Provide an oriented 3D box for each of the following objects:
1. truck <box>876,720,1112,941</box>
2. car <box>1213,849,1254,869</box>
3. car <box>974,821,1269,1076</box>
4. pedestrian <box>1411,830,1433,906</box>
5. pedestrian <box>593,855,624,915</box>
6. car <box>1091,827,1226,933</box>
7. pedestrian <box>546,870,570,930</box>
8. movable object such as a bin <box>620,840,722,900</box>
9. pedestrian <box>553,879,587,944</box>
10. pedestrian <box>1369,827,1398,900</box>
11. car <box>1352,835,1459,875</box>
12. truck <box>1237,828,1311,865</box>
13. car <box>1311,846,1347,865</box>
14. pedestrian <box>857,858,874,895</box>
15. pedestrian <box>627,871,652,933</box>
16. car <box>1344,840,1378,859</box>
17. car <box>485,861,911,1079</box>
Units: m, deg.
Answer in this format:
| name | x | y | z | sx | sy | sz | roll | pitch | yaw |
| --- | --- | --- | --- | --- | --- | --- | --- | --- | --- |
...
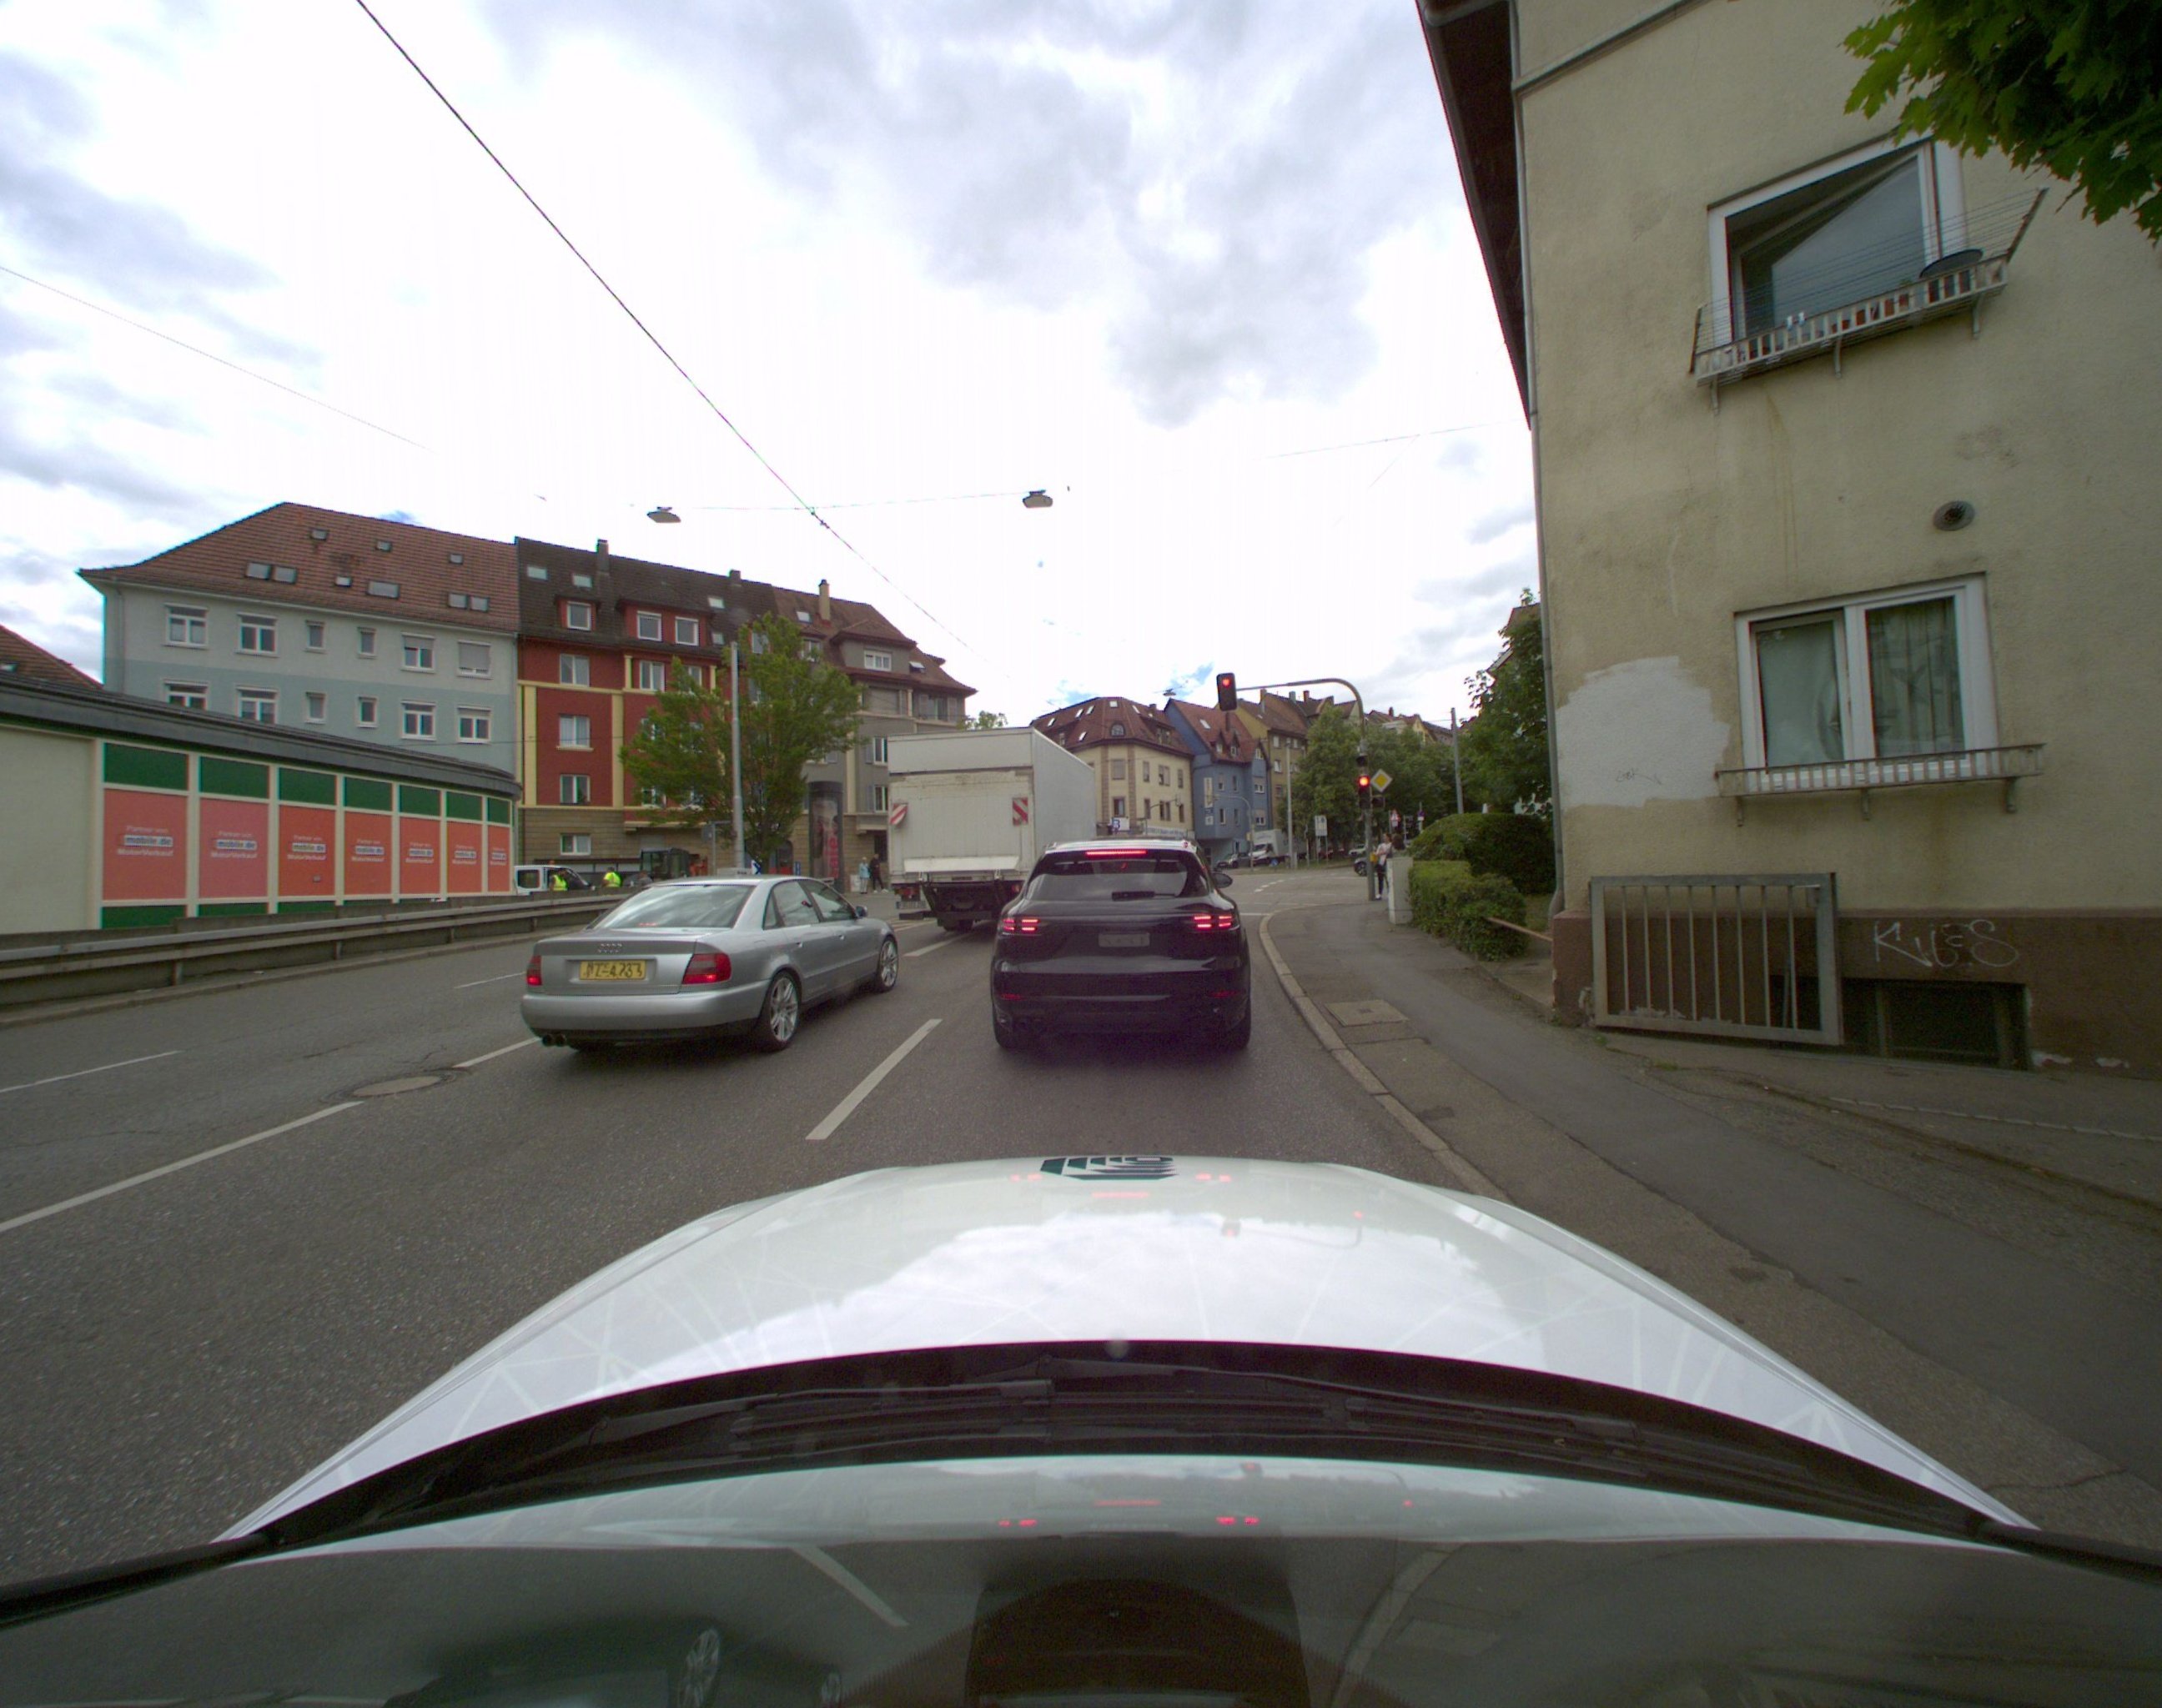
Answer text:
| name | x | y | z | sx | sy | sz | roll | pitch | yaw |
| --- | --- | --- | --- | --- | --- | --- | --- | --- | --- |
| truck | -1.306 | -0.401 | 17.365 | 2.751 | 3.575 | 8.088 | -1 | 0 | 10 |
| car | 13.462 | 0.462 | 71.757 | 1.974 | 1.684 | 4.026 | -2 | -1 | 36 |
| car | 0.249 | 0.617 | 7.531 | 1.973 | 1.684 | 3.998 | -1 | 0 | -1 |
| pedestrian | 8.332 | 0.333 | 19.920 | 0.459 | 1.837 | 0.325 | 0 | -1 | 16 |
| pedestrian | -14.126 | 0.906 | 24.337 | 0.570 | 1.761 | 0.616 | 1 | -1 | -8 |
| car | 1.587 | 0.437 | 15.160 | 1.980 | 1.684 | 4.014 | -1 | 0 | 12 |
| pedestrian | -15.478 | 1.345 | 24.112 | 0.479 | 1.730 | 0.536 | 1 | -1 | -44 |
| movable object such as a bin | -13.027 | 0.497 | 26.139 | 1.903 | 1.771 | 3.984 | 1 | 0 | -11 |
| pedestrian | -13.702 | 1.524 | 21.849 | 0.562 | 1.700 | 0.541 | 1 | -1 | -10 |
| pedestrian | 7.625 | 0.229 | 20.551 | 0.586 | 1.819 | 0.530 | 1 | -1 | 9 |
| car | 16.117 | 0.102 | 40.654 | 1.937 | 1.772 | 4.599 | 1 | -3 | -36 |
| truck | 18.661 | -0.643 | 78.270 | 2.846 | 3.340 | 8.846 | 0 | 0 | 43 |
| car | 26.150 | 0.159 | 85.816 | 1.975 | 2.014 | 4.023 | 0 | -1 | 45 |
| pedestrian | -9.360 | 0.966 | 35.335 | 0.587 | 1.567 | 0.486 | 1 | -1 | 1 |
| pedestrian | -12.589 | 1.359 | 23.211 | 0.545 | 1.730 | 0.587 | 1 | -1 | -33 |
| car | 31.224 | -0.467 | 90.693 | 1.975 | 2.014 | 4.023 | 0 | -1 | 45 |
| car | -3.068 | 0.818 | 7.644 | 1.688 | 1.373 | 4.184 | -1 | 1 | 5 |
